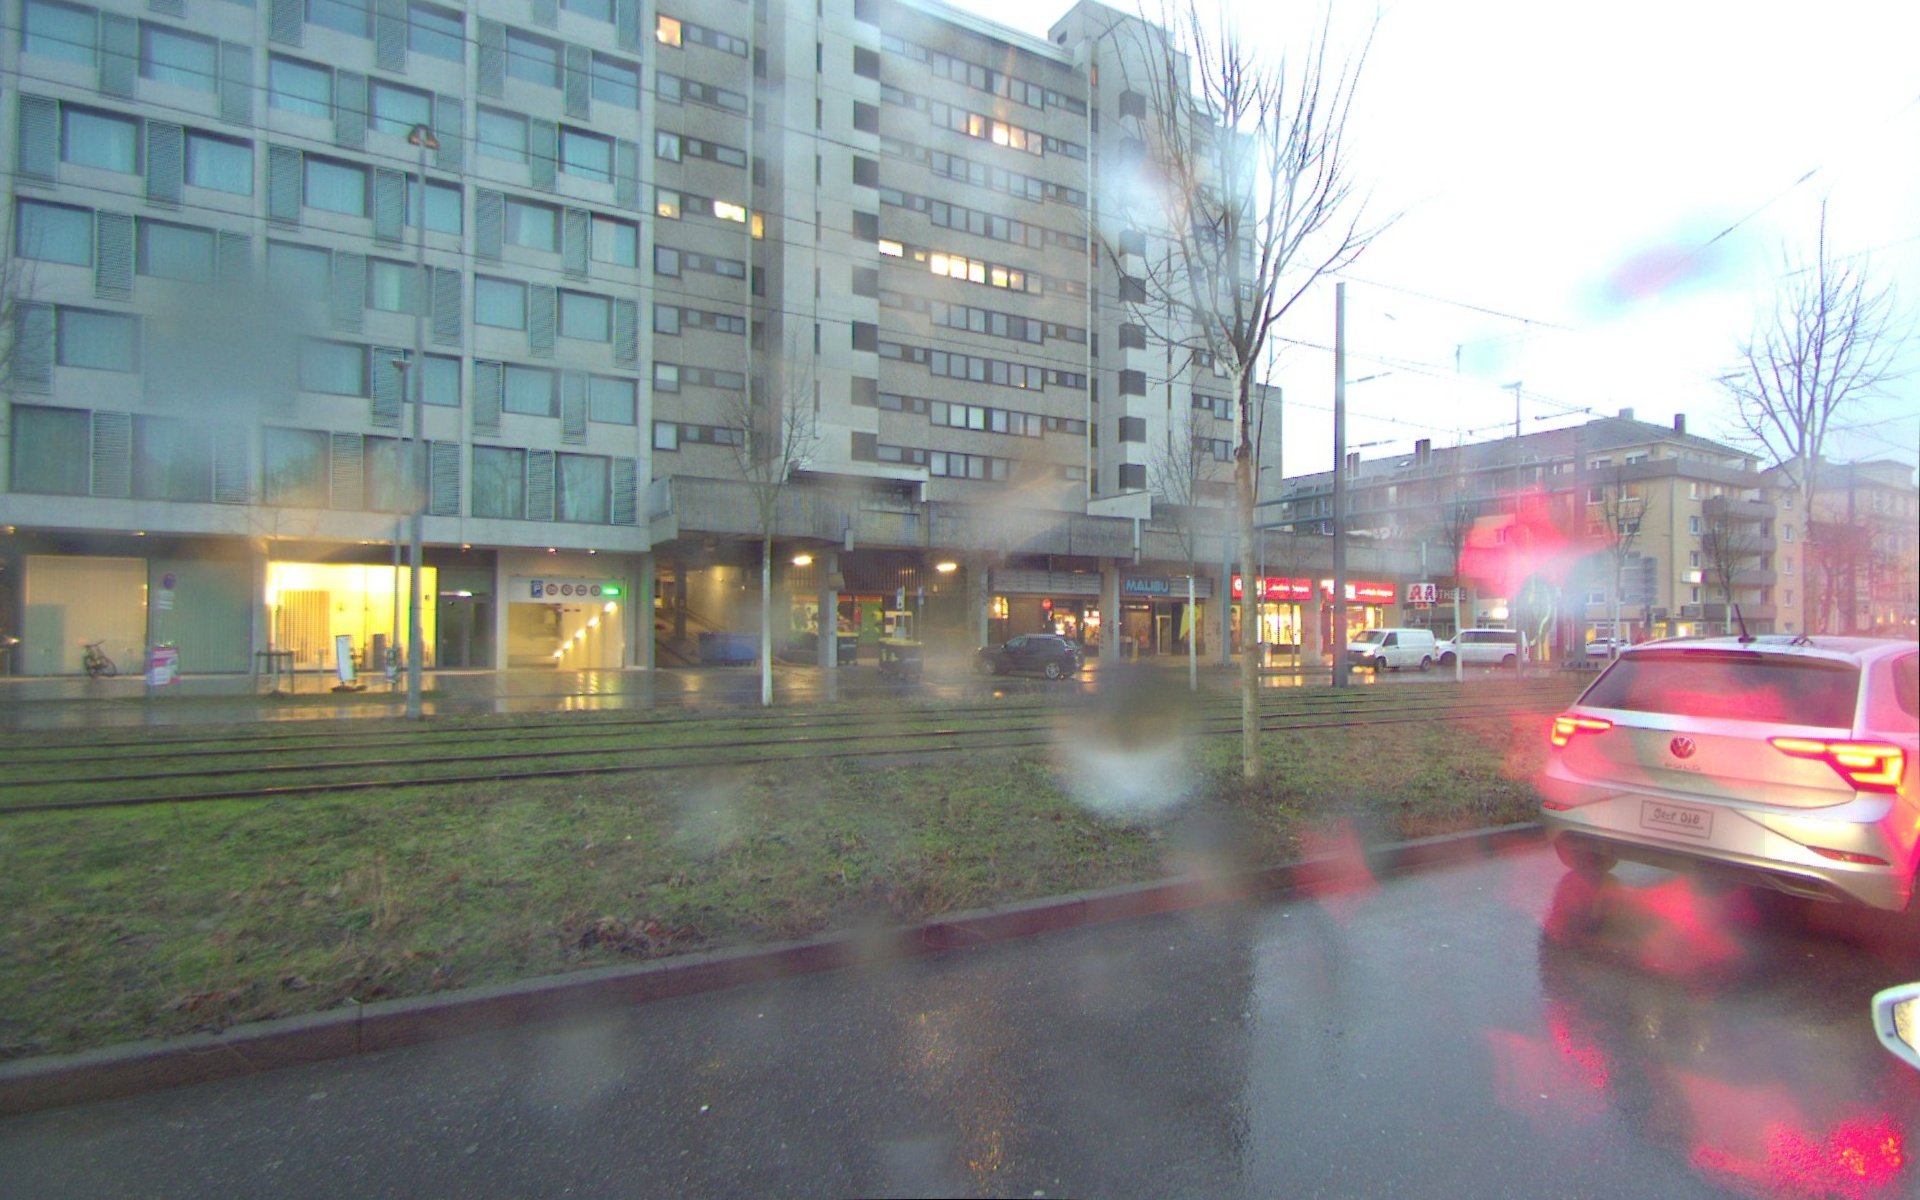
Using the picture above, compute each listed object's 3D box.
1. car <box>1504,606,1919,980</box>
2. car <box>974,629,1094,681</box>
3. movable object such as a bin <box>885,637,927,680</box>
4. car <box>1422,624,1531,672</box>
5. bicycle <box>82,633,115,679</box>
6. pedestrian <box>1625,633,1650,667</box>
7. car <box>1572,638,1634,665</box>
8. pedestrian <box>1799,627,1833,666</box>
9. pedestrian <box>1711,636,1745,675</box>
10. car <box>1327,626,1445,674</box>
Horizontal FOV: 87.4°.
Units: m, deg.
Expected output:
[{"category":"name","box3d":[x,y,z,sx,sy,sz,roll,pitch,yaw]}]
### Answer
[{"category":"car","box3d":[5.192,0.847,5.937,3.953,1.554,1.685,1,-1,-31]},{"category":"car","box3d":[2.813,2.066,38.333,4.066,1.715,1.982,2,0,28]},{"category":"movable object such as a bin","box3d":[-1.886,2.025,34.992,1.023,1.445,1.061,2,0,-41]},{"category":"car","box3d":[27.130,2.514,52.912,4.734,2.274,2.001,2,0,15]},{"category":"bicycle","box3d":[-25.156,1.619,29.335,0.460,1.255,1.527,2,0,-31]},{"category":"pedestrian","box3d":[40.339,2.962,59.823,0.988,2.040,0.962,0,-2,19]},{"category":"car","box3d":[51.203,4.072,80.055,1.826,1.968,3.720,2,0,-37]},{"category":"pedestrian","box3d":[45.166,2.454,53.018,1.253,2.040,1.004,-1,-2,36]},{"category":"pedestrian","box3d":[40.974,2.951,53.601,1.049,2.040,1.008,0,-1,8]},{"category":"car","box3d":[20.037,2.349,47.215,5.491,2.073,1.987,2,0,-26]}]
